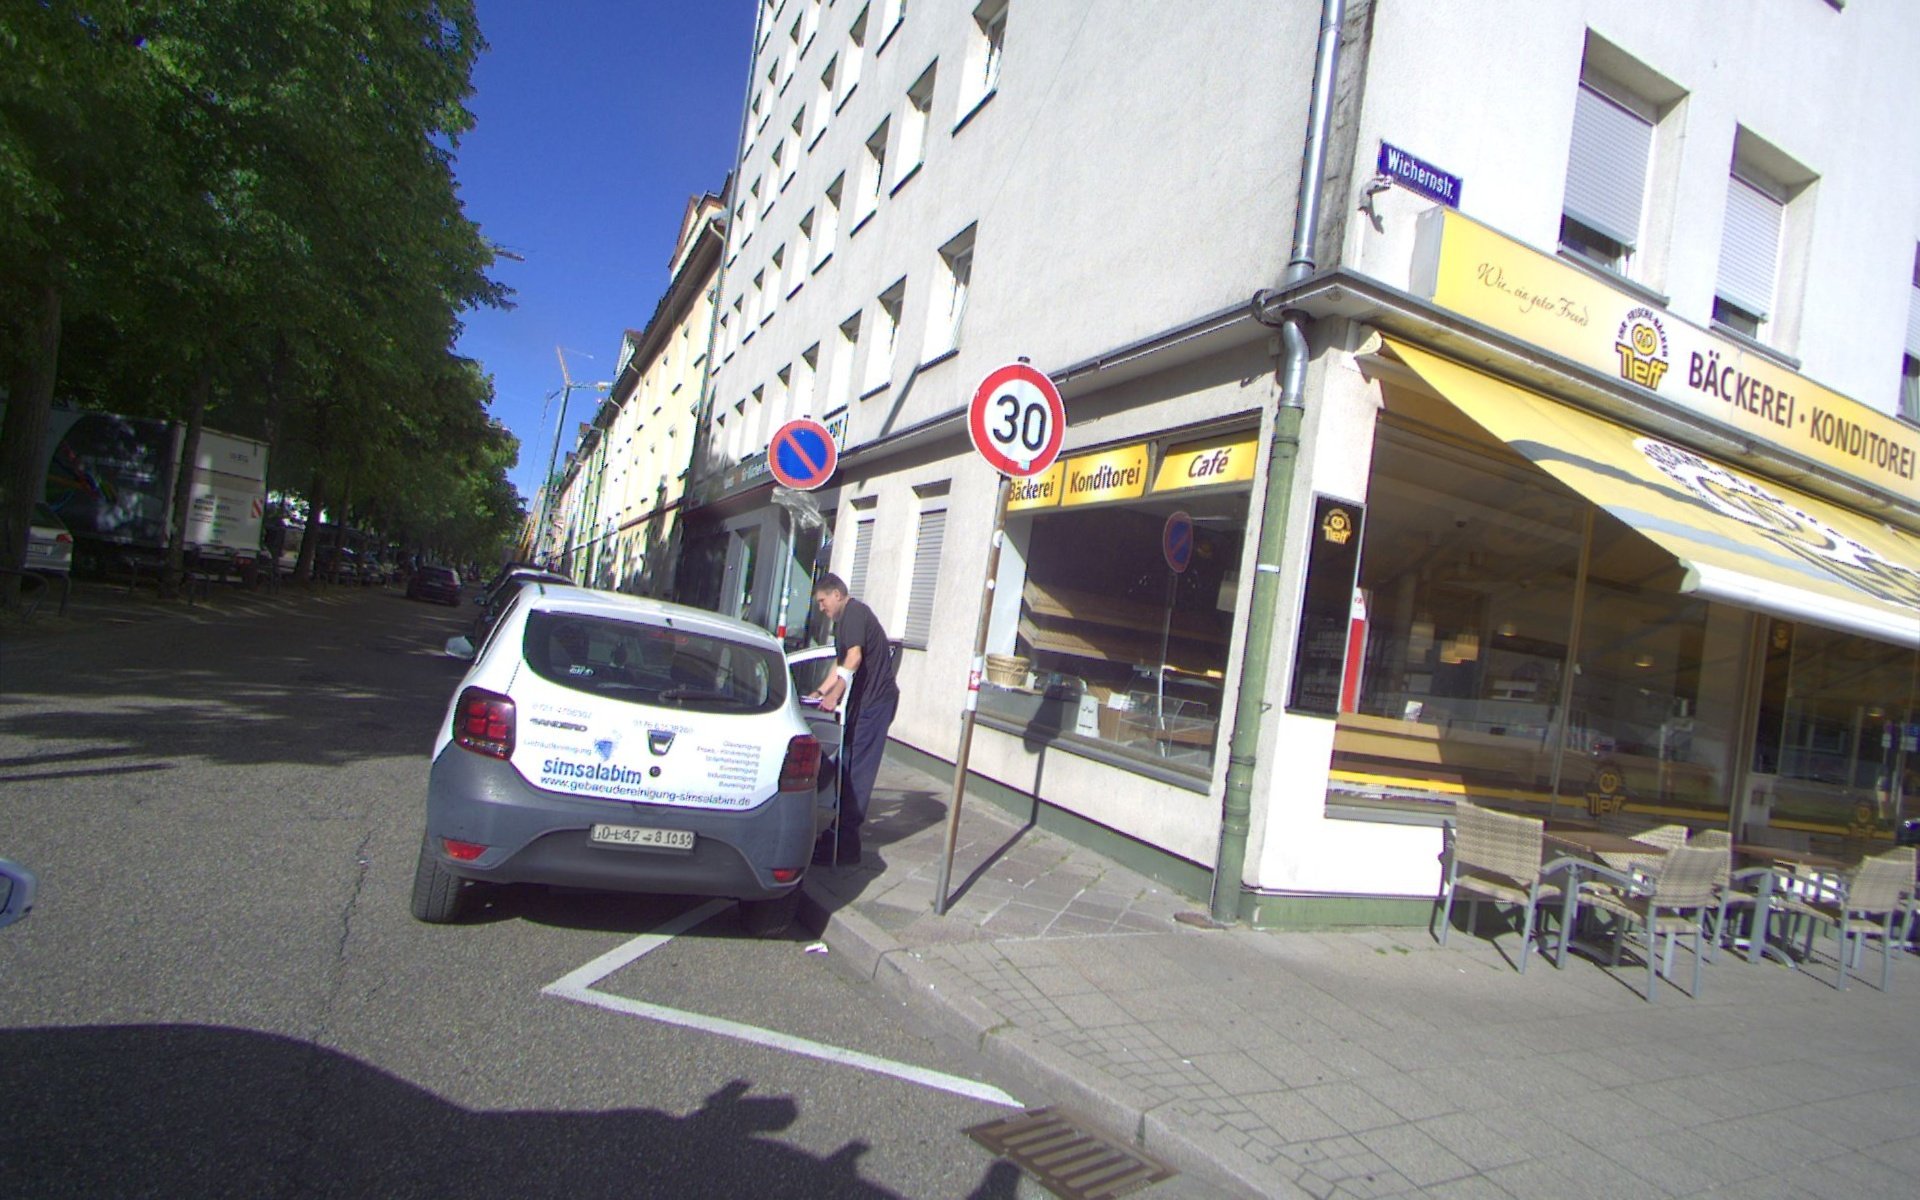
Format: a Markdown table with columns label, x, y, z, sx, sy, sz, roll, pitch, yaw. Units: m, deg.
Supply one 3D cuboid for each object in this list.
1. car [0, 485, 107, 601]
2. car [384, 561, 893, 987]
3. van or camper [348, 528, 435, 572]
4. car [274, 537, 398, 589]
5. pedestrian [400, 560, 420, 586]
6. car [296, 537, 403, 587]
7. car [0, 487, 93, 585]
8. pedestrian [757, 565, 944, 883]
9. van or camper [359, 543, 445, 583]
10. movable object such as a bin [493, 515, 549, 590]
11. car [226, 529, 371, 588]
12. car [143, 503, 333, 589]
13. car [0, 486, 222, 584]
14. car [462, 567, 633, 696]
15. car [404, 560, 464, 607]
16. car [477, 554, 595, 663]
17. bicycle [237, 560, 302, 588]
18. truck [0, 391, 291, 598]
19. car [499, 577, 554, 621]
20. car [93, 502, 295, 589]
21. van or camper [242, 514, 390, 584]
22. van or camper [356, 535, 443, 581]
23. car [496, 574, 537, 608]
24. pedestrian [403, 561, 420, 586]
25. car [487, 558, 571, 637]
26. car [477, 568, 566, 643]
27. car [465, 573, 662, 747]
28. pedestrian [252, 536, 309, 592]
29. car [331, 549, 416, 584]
| label | x | y | z | sx | sy | sz | roll | pitch | yaw |
| --- | --- | --- | --- | --- | --- | --- | --- | --- | --- |
| car | -15.441 | -1.114 | 14.884 | 4.261 | 1.524 | 1.816 | 8 | -2 | 9 |
| car | -1.948 | 0.698 | 5.740 | 1.703 | 1.514 | 4.001 | 9 | -2 | -23 |
| van or camper | -47.444 | -4.180 | 84.024 | 5.776 | 2.667 | 2.257 | 8 | -1 | 5 |
| car | -27.335 | -1.601 | 44.132 | 4.340 | 1.477 | 1.719 | 9 | -3 | 8 |
| pedestrian | -34.321 | -1.679 | 62.768 | 0.699 | 1.472 | 0.596 | 8 | -1 | -2 |
| car | -30.247 | -1.868 | 49.898 | 4.070 | 1.698 | 1.761 | 9 | -2 | 4 |
| car | -18.230 | -1.406 | 17.879 | 4.261 | 1.524 | 1.816 | 8 | -2 | 9 |
| pedestrian | -0.685 | 0.720 | 6.087 | 0.751 | 1.742 | 0.742 | 9 | -1 | -19 |
| van or camper | -44.785 | -2.941 | 80.818 | 5.416 | 2.301 | 2.221 | 8 | -2 | -1 |
| movable object such as a bin | -44.028 | -4.718 | 100.967 | 3.424 | 6.834 | 2.372 | 8 | -2 | 8 |
| car | -25.423 | -1.573 | 38.725 | 4.405 | 1.471 | 1.790 | 8 | -2 | 7 |
| car | -23.392 | -1.713 | 32.747 | 4.442 | 1.885 | 2.083 | 9 | -2 | 0 |
| car | -20.152 | -1.507 | 23.839 | 3.925 | 1.519 | 1.851 | 9 | -2 | 7 |
| car | -6.502 | 0.395 | 15.558 | 1.789 | 1.479 | 4.409 | 10 | -3 | -29 |
| car | -20.591 | -0.671 | 39.521 | 1.782 | 1.520 | 3.564 | 9 | -2 | -26 |
| car | -8.757 | 0.118 | 20.553 | 1.748 | 1.773 | 4.482 | 9 | -2 | -26 |
| bicycle | -19.821 | -0.747 | 28.888 | 1.584 | 0.565 | 0.410 | 8 | -1 | 6 |
| truck | -18.258 | -2.263 | 20.706 | 7.187 | 3.331 | 2.550 | 8 | -1 | 7 |
| car | -17.292 | -0.078 | 40.043 | 1.538 | 1.409 | 3.834 | 10 | -2 | -28 |
| car | -20.298 | -1.414 | 26.740 | 4.031 | 1.523 | 1.736 | 9 | -2 | 7 |
| van or camper | -38.453 | -3.002 | 60.230 | 7.115 | 2.963 | 2.316 | 8 | -1 | 2 |
| van or camper | -53.374 | -3.998 | 95.820 | 6.553 | 3.278 | 2.498 | 8 | -1 | 4 |
| car | -24.929 | -0.543 | 56.499 | 1.709 | 1.545 | 4.132 | 10 | -2 | -26 |
| pedestrian | -34.602 | -1.684 | 63.428 | 0.605 | 1.472 | 0.520 | 8 | -1 | -2 |
| car | -13.000 | -0.113 | 30.295 | 1.931 | 1.922 | 4.819 | 9 | -2 | -24 |
| car | -11.211 | 0.096 | 25.623 | 1.747 | 1.517 | 4.213 | 9 | -2 | -25 |
| car | -4.513 | 0.569 | 11.360 | 1.582 | 1.479 | 3.653 | 9 | -2 | -24 |
| pedestrian | -19.310 | -1.022 | 28.596 | 0.739 | 1.412 | 0.930 | 8 | -1 | 7 |
| car | -36.849 | -2.110 | 63.283 | 4.249 | 1.440 | 1.677 | 9 | -2 | 2 |
